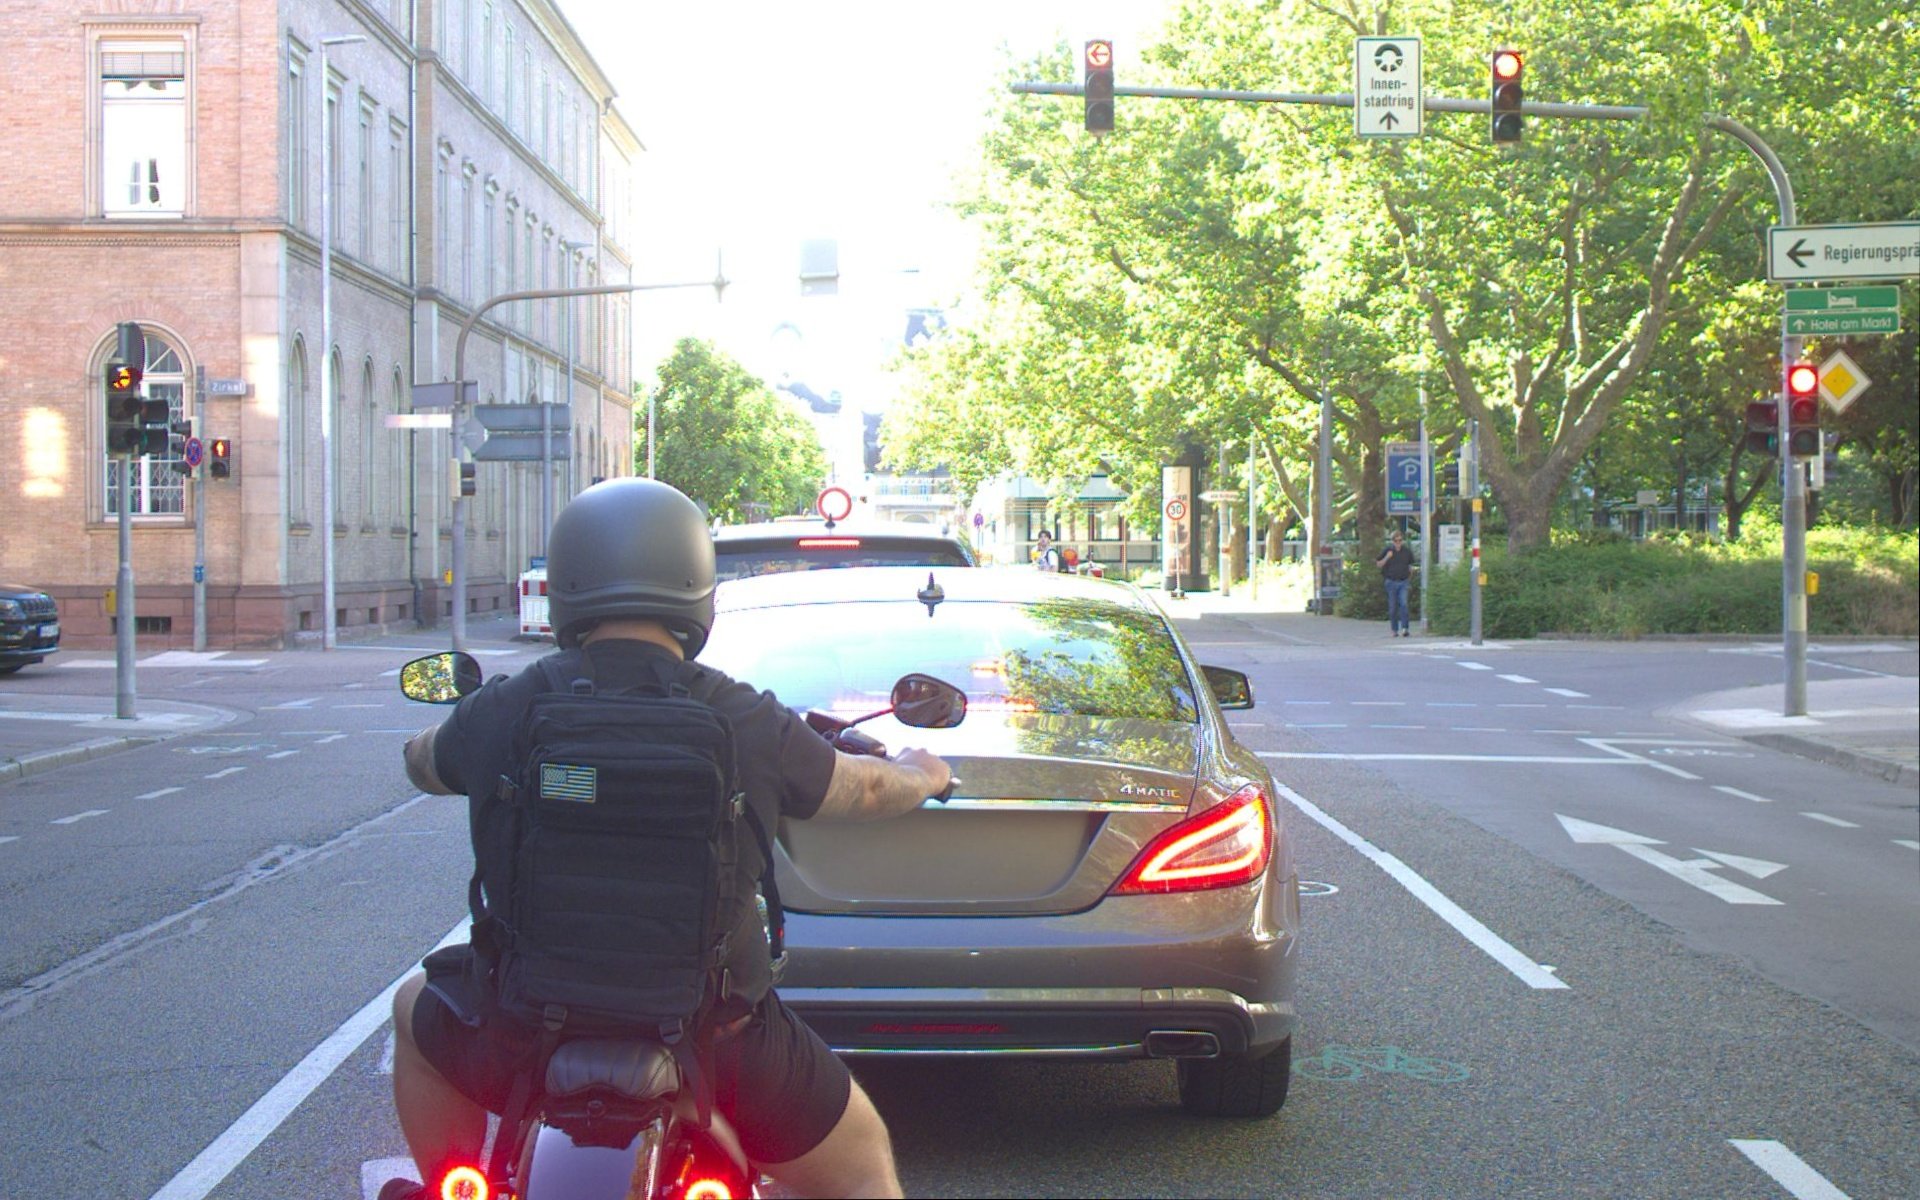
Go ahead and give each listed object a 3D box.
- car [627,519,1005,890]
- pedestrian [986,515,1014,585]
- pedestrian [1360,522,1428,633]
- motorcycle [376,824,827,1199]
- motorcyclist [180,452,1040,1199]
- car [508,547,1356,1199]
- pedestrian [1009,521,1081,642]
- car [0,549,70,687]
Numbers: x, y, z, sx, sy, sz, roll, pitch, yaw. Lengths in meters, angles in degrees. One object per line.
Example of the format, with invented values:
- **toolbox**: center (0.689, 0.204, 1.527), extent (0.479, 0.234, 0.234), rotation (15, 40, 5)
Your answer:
- **car**: center (-0.639, 0.412, 16.741), extent (1.621, 1.588, 4.000), rotation (0, 1, -1)
- **pedestrian**: center (1.167, -1.457, 100.863), extent (0.764, 2.044, 0.712), rotation (1, 0, -1)
- **pedestrian**: center (7.521, -0.387, 59.623), extent (0.749, 1.903, 0.926), rotation (1, 0, -28)
- **motorcycle**: center (-0.498, 0.928, 5.370), extent (0.513, 0.999, 2.013), rotation (1, 1, -1)
- **motorcyclist**: center (-0.485, 0.598, 5.297), extent (1.149, 1.593, 1.288), rotation (1, 0, -1)
- **car**: center (-0.085, 0.597, 9.626), extent (1.882, 1.444, 3.820), rotation (1, 1, -1)
- **pedestrian**: center (1.301, -0.290, 52.576), extent (1.002, 1.820, 1.076), rotation (1, 0, 6)
- **car**: center (-12.671, 0.171, 39.774), extent (4.370, 1.565, 1.856), rotation (1, 0, -7)
